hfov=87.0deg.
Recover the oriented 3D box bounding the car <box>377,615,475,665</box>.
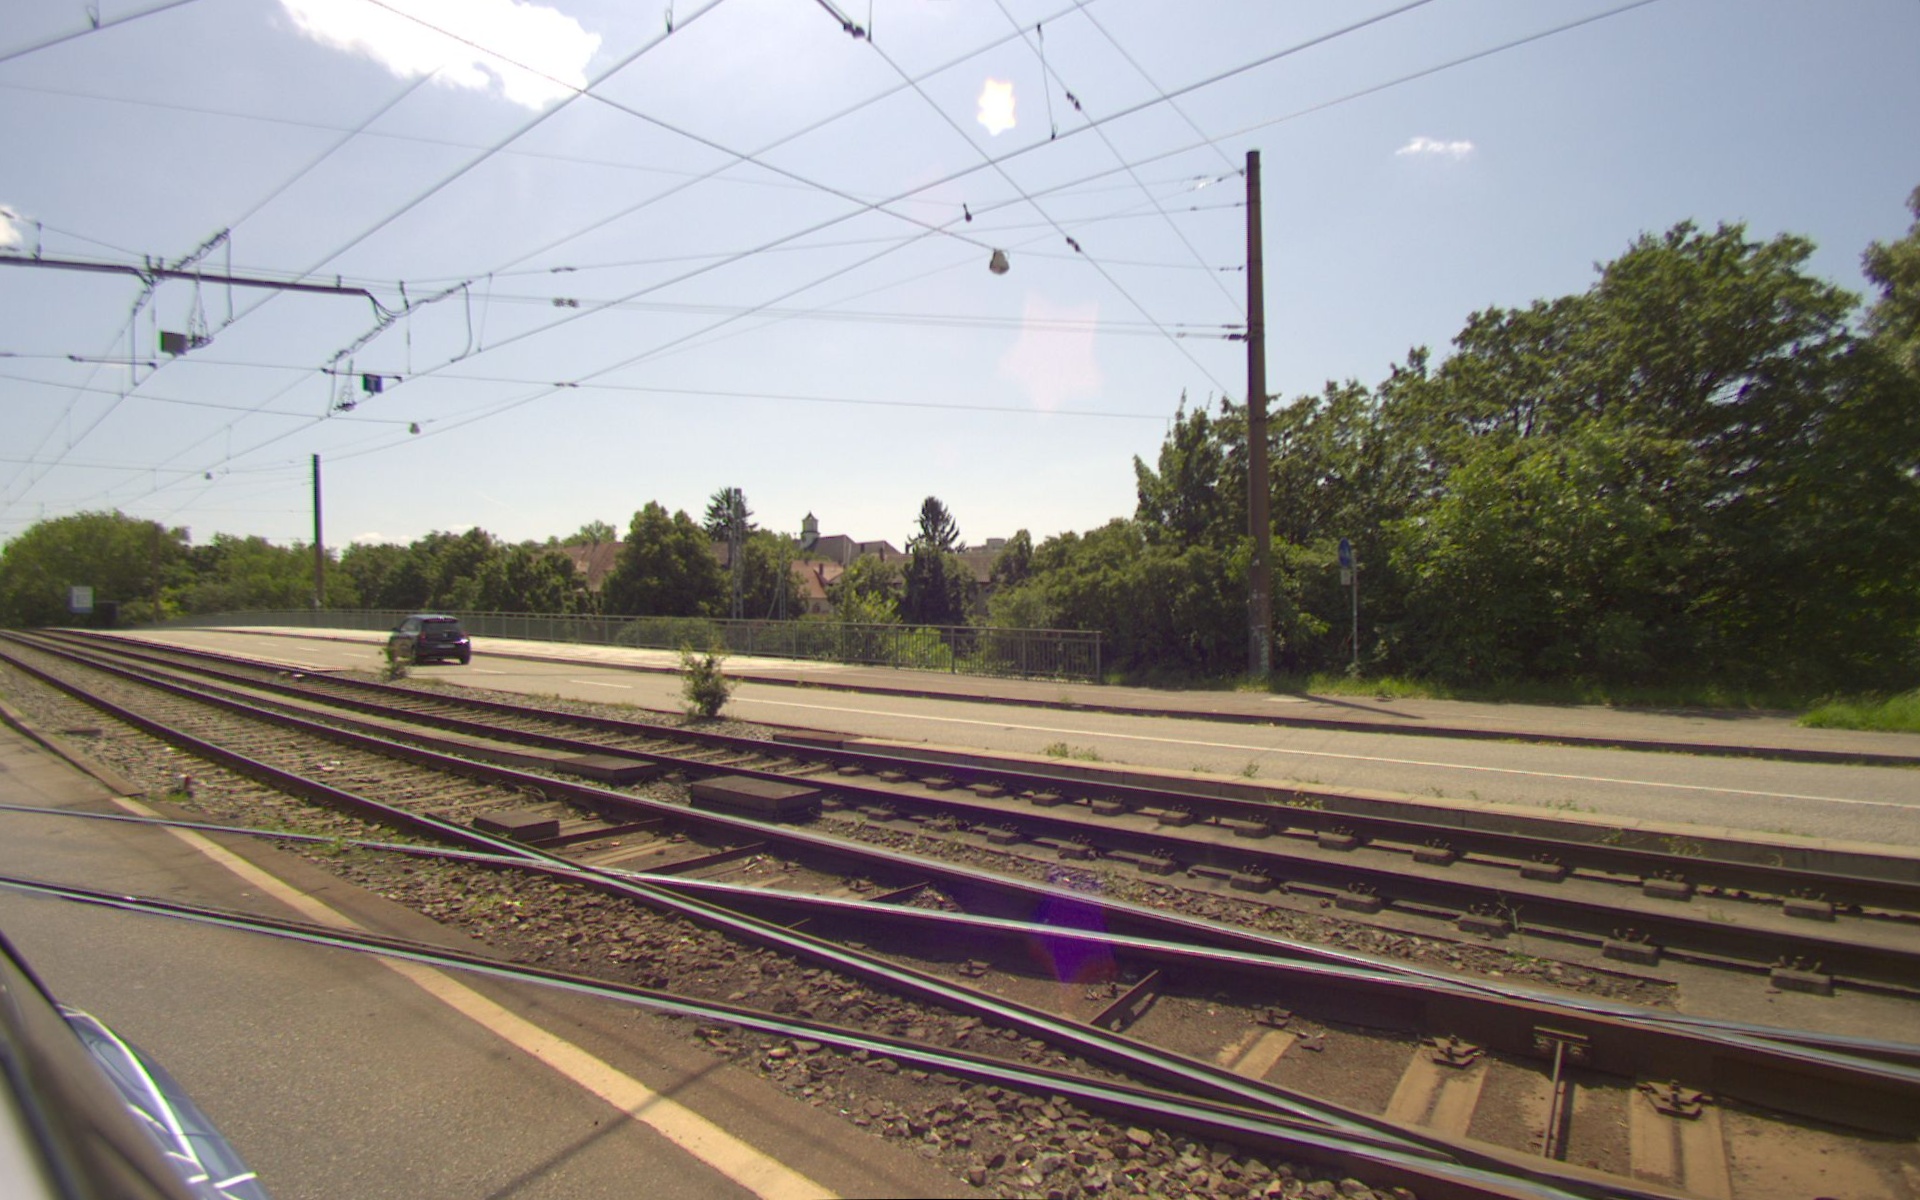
[{"bbox_3d":[-17.138,1.239,32.438,3.734,1.521,1.686,-1,-1,44],"label":"car"}]
